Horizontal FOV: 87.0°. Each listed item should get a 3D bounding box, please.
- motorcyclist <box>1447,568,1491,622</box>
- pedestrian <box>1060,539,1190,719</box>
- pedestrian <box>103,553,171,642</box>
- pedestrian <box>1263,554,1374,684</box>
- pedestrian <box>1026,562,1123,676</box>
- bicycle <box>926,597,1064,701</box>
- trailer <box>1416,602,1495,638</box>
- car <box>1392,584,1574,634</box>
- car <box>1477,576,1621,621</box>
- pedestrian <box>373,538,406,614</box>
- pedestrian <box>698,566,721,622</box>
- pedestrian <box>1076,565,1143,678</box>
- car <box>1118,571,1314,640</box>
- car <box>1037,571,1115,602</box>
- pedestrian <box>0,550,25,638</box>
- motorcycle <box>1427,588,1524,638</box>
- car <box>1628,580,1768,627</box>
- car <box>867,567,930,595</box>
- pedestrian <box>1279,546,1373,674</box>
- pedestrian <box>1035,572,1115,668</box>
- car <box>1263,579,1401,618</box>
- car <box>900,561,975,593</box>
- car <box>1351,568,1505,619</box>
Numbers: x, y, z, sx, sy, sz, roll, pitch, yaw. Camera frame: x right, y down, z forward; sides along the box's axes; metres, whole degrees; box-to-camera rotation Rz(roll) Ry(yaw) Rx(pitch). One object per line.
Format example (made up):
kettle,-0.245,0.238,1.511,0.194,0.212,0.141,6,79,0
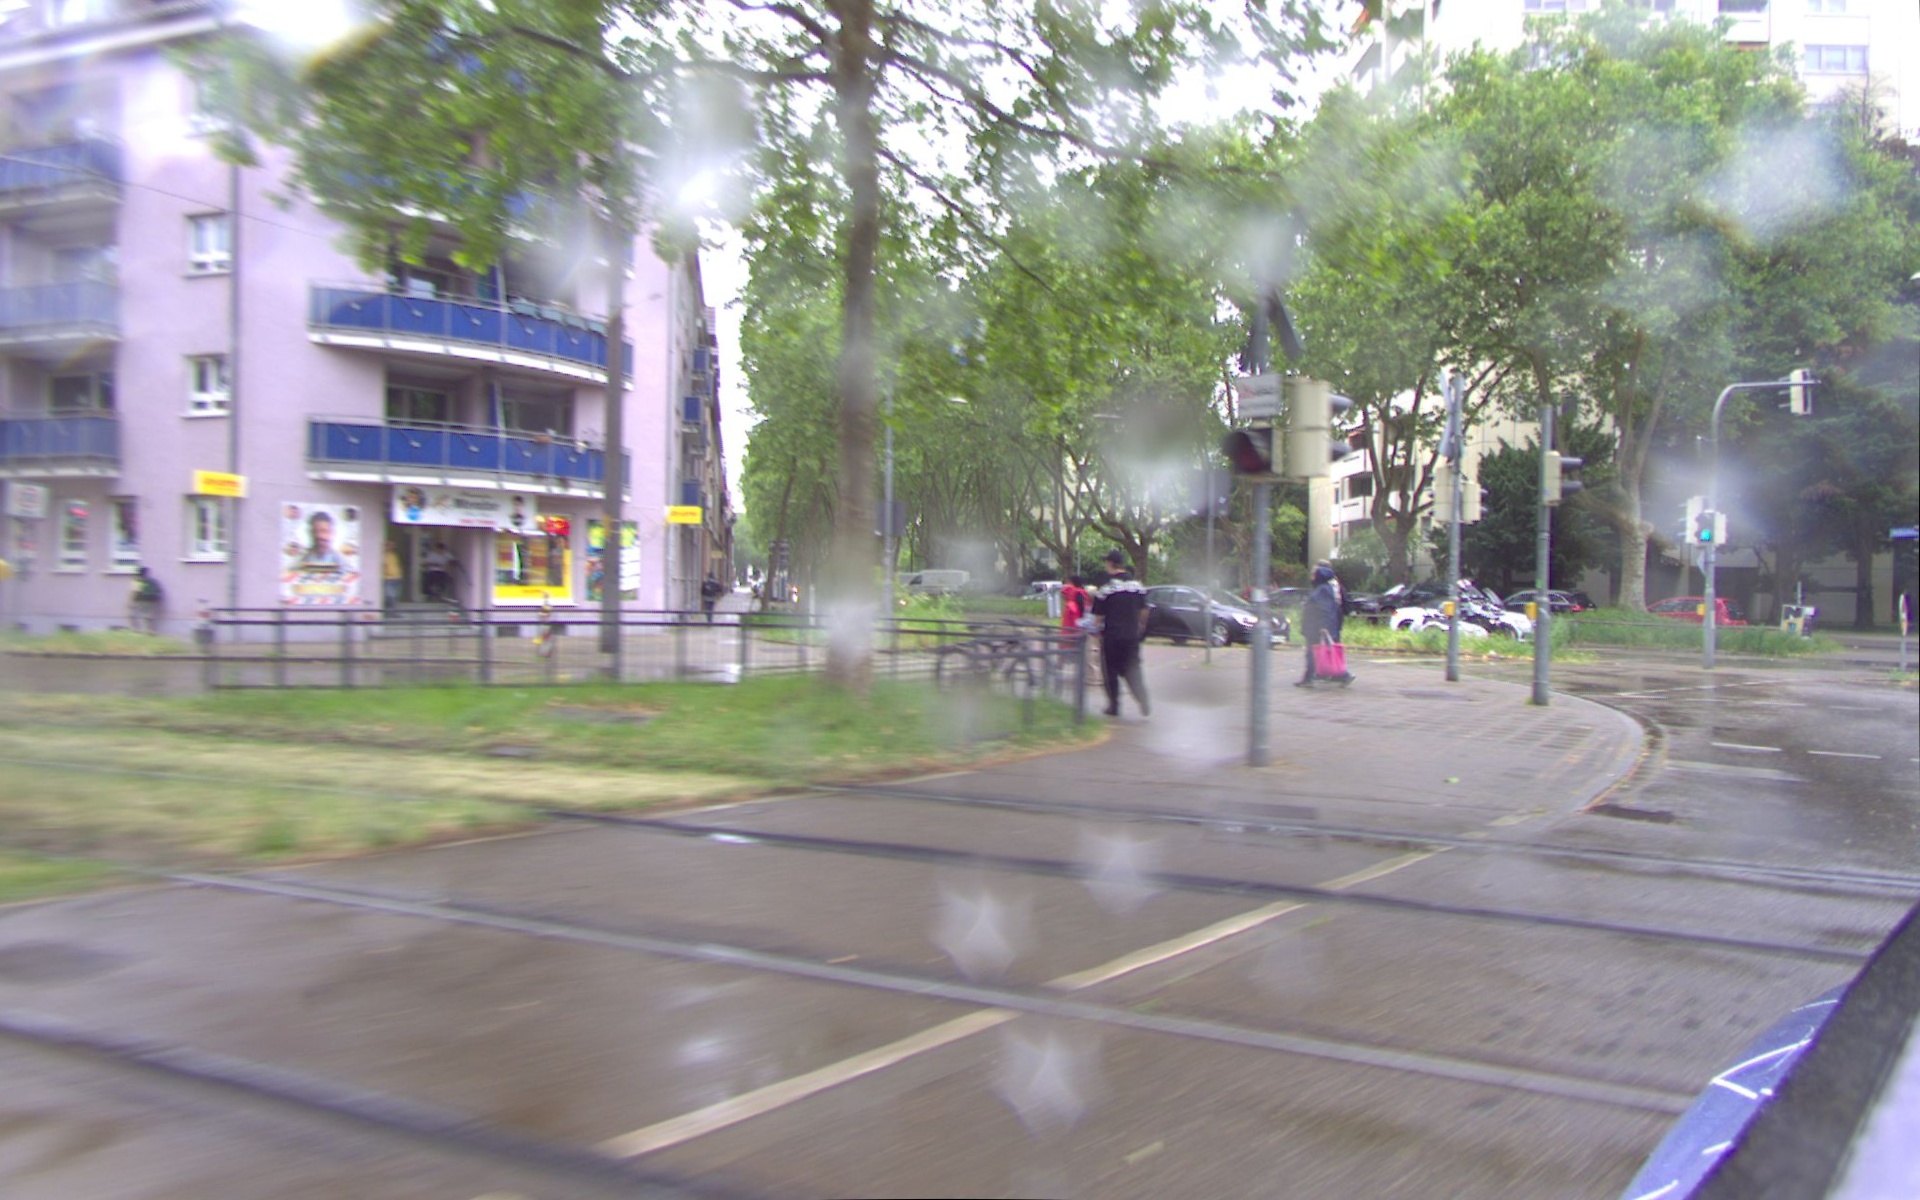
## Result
motorcyclist,13.132,-0.135,26.106,0.743,1.368,0.755,0,0,-34
pedestrian,1.742,0.284,10.923,1.016,1.811,1.239,0,0,-10
pedestrian,-16.325,-0.060,20.083,0.674,1.718,0.821,1,1,11
pedestrian,4.906,0.240,13.901,0.975,1.707,1.058,1,1,-16
pedestrian,1.621,0.242,14.347,1.060,1.544,0.866,1,1,40
bicycle,0.372,0.524,11.468,1.610,1.090,0.440,1,1,38
trailer,12.437,0.490,25.444,1.007,0.852,1.483,0,1,-33
car,14.613,0.215,28.454,1.869,1.291,4.168,0,0,-38
car,22.632,-0.067,39.072,1.901,1.628,4.460,0,1,-29
pedestrian,-12.378,-0.513,21.952,0.591,1.622,0.466,0,0,41
pedestrian,-8.269,-0.214,33.412,0.629,1.826,0.623,1,1,-8
pedestrian,2.169,0.292,14.632,0.754,1.567,0.686,1,1,28
car,5.896,0.084,23.702,1.957,1.479,4.176,0,1,-37
car,6.311,-0.727,55.199,3.921,1.676,2.002,0,0,-4
pedestrian,-19.149,-0.125,19.783,0.908,1.718,0.952,1,1,14
motorcycle,13.211,0.309,25.992,0.864,1.230,2.075,0,0,-34
car,25.261,0.089,34.743,1.806,1.544,3.463,0,0,-32
car,-6.077,-1.884,99.621,5.893,2.683,1.988,0,0,19
pedestrian,5.352,0.127,14.845,0.795,1.803,0.996,0,1,-27
pedestrian,1.748,0.284,15.417,1.006,1.399,0.663,2,1,41
car,15.905,-0.098,43.607,2.212,1.537,5.540,0,1,-28
car,-1.799,-1.831,80.429,5.537,2.431,2.219,0,0,21
car,16.259,-0.231,35.261,4.511,1.685,1.877,0,0,-5
